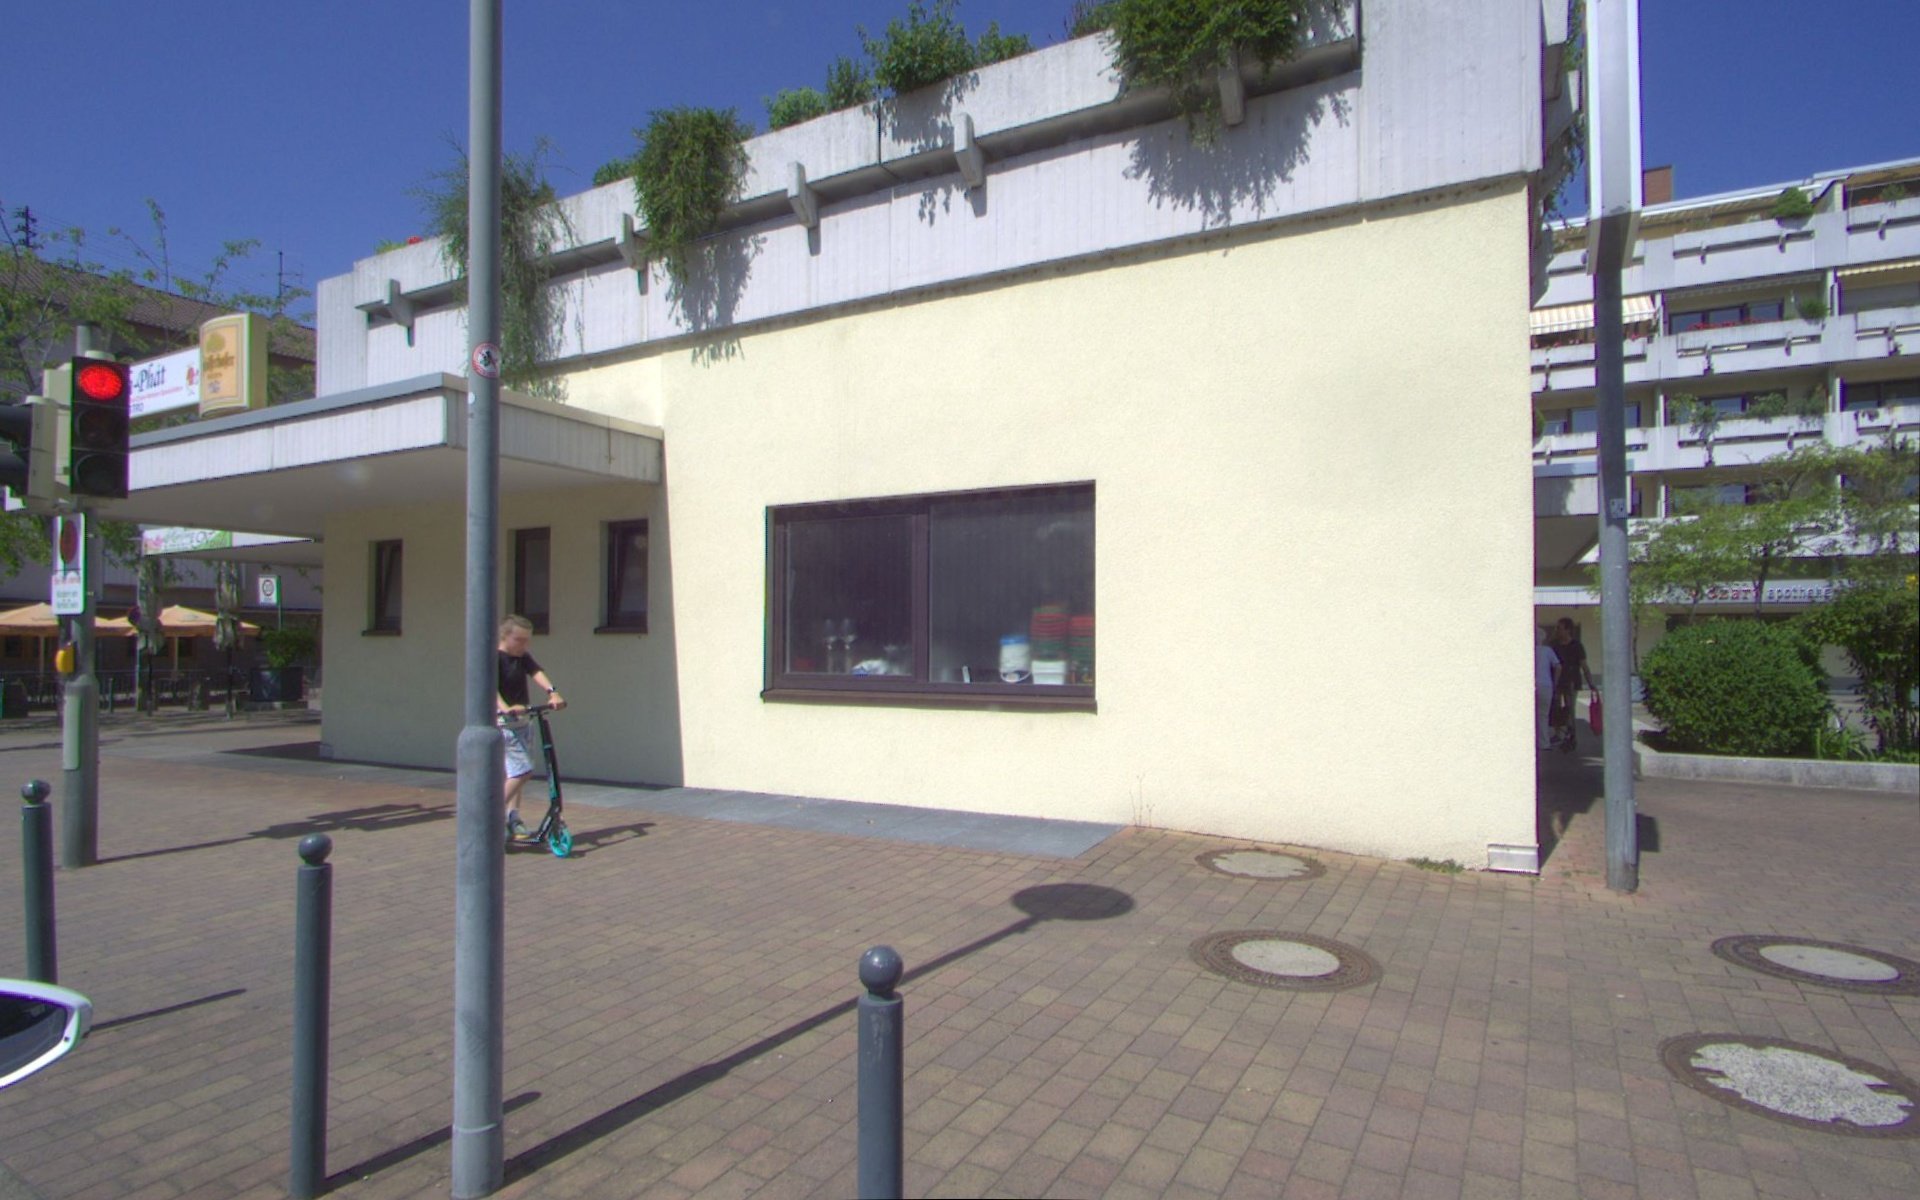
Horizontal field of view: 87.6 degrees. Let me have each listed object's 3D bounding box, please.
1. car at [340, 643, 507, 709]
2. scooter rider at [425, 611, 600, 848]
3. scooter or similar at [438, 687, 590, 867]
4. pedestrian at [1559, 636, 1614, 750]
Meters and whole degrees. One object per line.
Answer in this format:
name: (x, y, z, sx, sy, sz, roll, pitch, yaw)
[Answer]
car: (-13.422, 1.881, 25.044, 3.909, 1.528, 1.767, -2, -3, 26)
scooter rider: (-2.778, 0.755, 6.198, 1.117, 1.341, 0.460, -1, -1, 33)
scooter or similar: (-2.748, 1.048, 6.154, 0.947, 0.977, 0.410, -1, -2, 34)
pedestrian: (8.468, 1.230, 13.549, 0.596, 1.482, 0.791, -1, -2, 32)
